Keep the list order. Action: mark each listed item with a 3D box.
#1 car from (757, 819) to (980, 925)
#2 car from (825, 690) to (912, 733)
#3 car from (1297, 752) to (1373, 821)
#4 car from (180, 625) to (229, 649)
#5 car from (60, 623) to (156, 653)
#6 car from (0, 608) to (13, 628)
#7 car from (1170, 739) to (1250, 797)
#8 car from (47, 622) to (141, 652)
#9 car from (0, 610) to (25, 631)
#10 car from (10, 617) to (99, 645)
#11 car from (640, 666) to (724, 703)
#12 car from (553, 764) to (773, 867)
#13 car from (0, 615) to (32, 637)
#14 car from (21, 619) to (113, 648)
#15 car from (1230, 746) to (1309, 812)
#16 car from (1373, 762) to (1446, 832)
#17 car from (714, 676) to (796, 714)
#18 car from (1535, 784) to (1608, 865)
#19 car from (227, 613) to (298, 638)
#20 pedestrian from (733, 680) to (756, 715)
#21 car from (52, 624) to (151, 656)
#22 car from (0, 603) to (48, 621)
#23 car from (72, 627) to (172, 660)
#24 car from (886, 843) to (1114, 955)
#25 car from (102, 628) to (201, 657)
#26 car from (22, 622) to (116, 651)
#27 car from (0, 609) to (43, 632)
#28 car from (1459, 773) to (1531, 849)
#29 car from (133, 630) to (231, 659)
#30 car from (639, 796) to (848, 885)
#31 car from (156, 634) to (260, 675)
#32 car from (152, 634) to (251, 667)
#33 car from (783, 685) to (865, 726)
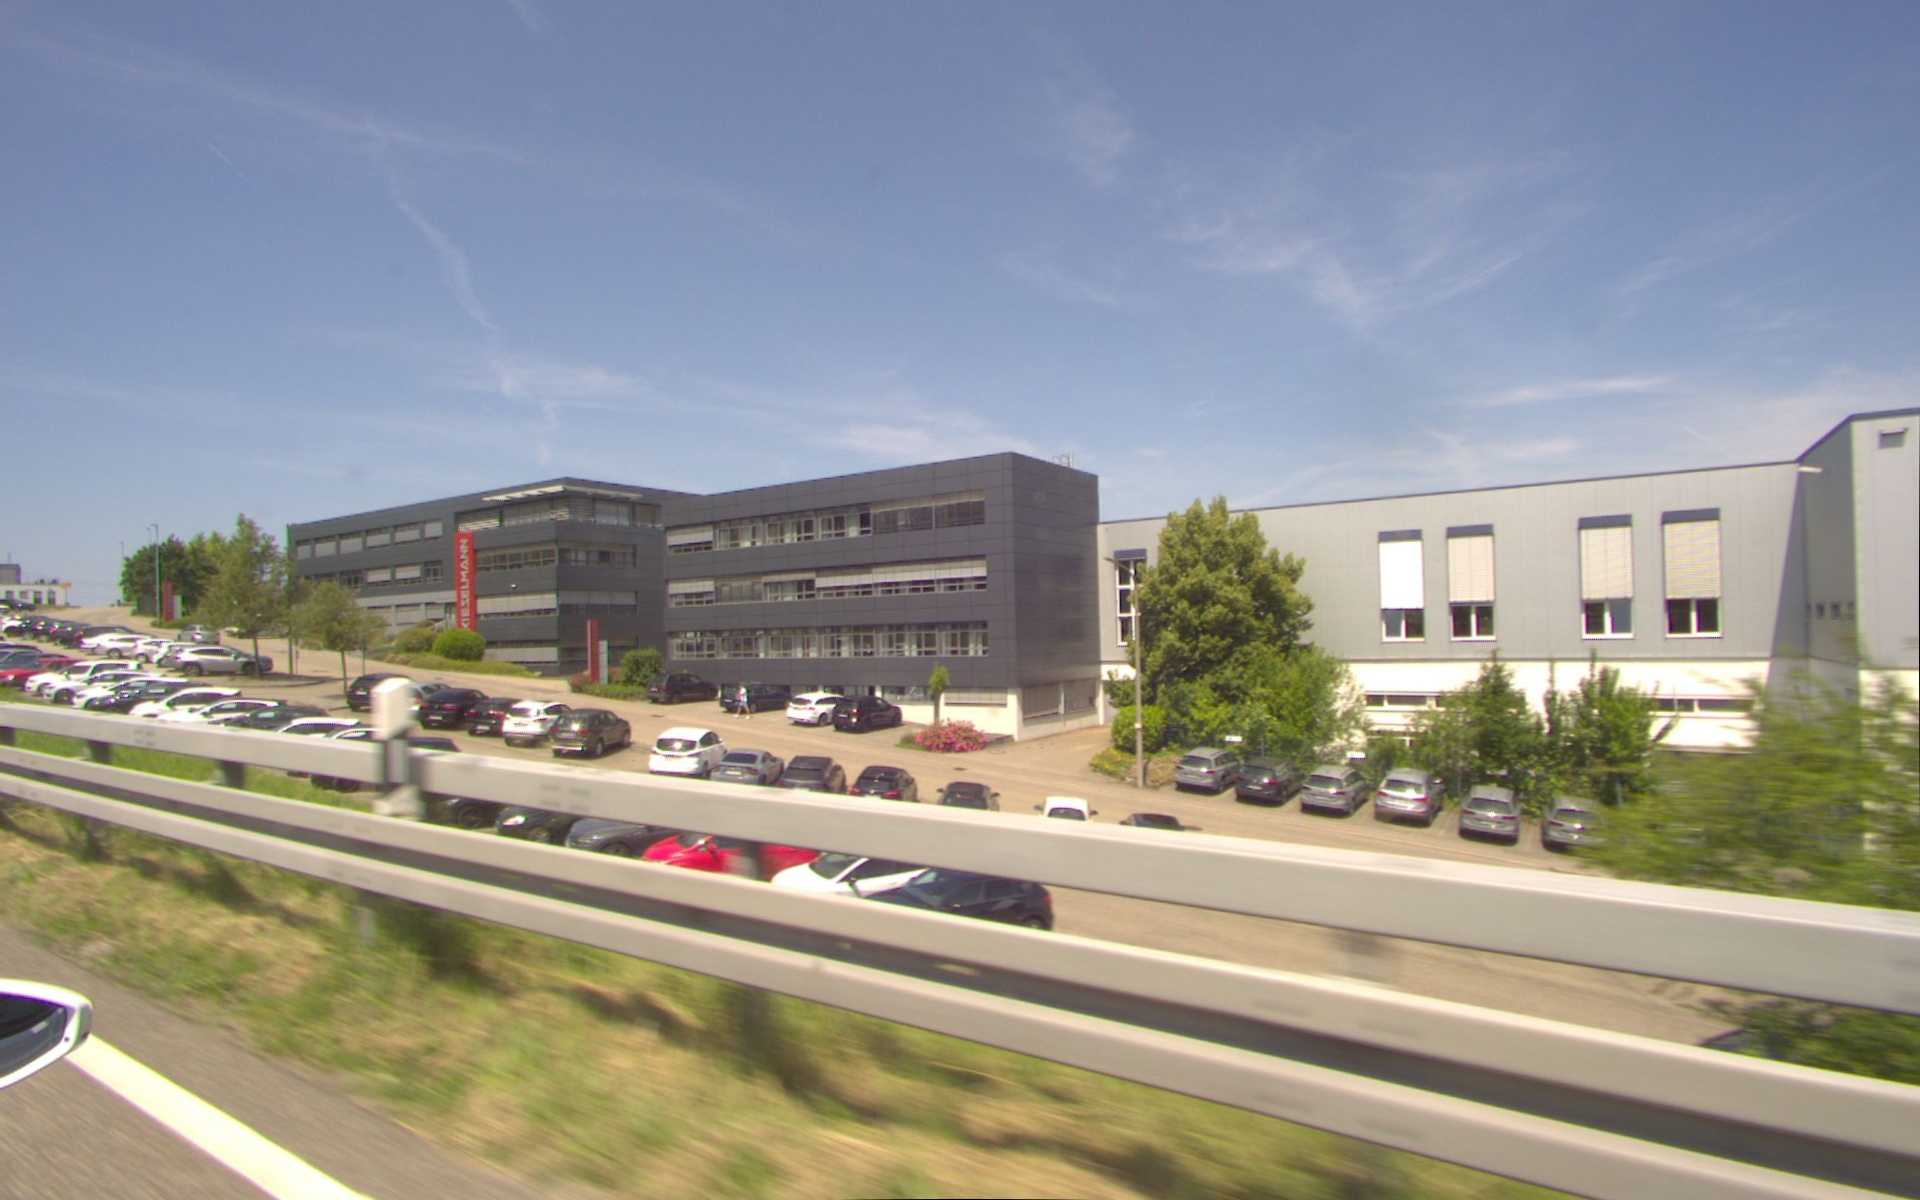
[{"bbox_3d":[-1.914,5.766,21.607,4.361,1.682,1.886,8,-5,-35],"label":"car"},{"bbox_3d":[-4.521,5.508,49.939,1.795,1.593,4.560,3,1,34],"label":"car"},{"bbox_3d":[13.927,6.807,37.035,1.793,1.593,4.563,2,1,31],"label":"car"},{"bbox_3d":[-56.948,2.766,75.501,3.947,1.682,1.802,0,-3,36],"label":"car"},{"bbox_3d":[-57.849,2.588,68.080,4.526,1.648,1.812,7,-4,-29],"label":"car"},{"bbox_3d":[-83.387,1.399,84.619,4.532,1.649,1.808,5,-3,-35],"label":"car"},{"bbox_3d":[9.957,6.573,39.646,1.793,1.593,4.566,2,0,31],"label":"car"},{"bbox_3d":[-60.284,2.604,69.825,4.526,1.648,1.812,7,-4,-29],"label":"car"},{"bbox_3d":[-80.731,1.661,82.983,4.530,1.649,1.808,3,-2,-35],"label":"car"},{"bbox_3d":[-67.681,2.342,74.941,4.526,1.648,1.812,7,-4,-29],"label":"car"},{"bbox_3d":[-15.653,4.741,56.615,1.794,1.670,4.563,3,1,32],"label":"car"},{"bbox_3d":[-7.239,5.236,24.511,4.664,2.037,2.068,7,-4,-30],"label":"car"},{"bbox_3d":[-78.320,2.010,80.906,4.532,1.649,1.808,5,-3,-35],"label":"car"},{"bbox_3d":[-64.893,2.473,72.879,4.526,1.648,1.812,7,-4,-29],"label":"car"},{"bbox_3d":[11.892,6.766,38.294,1.793,1.593,4.563,2,1,31],"label":"car"},{"bbox_3d":[16.163,6.983,35.916,1.883,1.593,4.030,2,1,31],"label":"car"},{"bbox_3d":[-11.073,5.123,54.339,1.792,1.593,4.567,3,1,29],"label":"car"},{"bbox_3d":[19.977,7.272,32.773,1.883,1.593,4.030,2,1,31],"label":"car"},{"bbox_3d":[-58.385,2.117,83.881,1.795,1.975,4.560,2,0,35],"label":"car"},{"bbox_3d":[-11.096,5.031,51.632,0.817,1.744,0.631,2,-4,35],"label":"pedestrian"},{"bbox_3d":[-56.305,2.619,65.768,4.526,1.648,1.812,7,-4,-29],"label":"car"},{"bbox_3d":[-94.673,1.153,100.266,4.512,1.649,1.816,3,-3,-22],"label":"car"},{"bbox_3d":[-53.959,2.813,64.558,4.526,1.648,1.812,7,-4,-29],"label":"car"},{"bbox_3d":[0.868,5.934,20.252,4.361,1.561,1.778,8,-5,-35],"label":"car"},{"bbox_3d":[-50.854,2.667,63.067,4.516,1.541,1.812,3,2,-25],"label":"car"},{"bbox_3d":[-63.257,2.603,71.189,4.526,1.648,1.812,7,-4,-29],"label":"car"},{"bbox_3d":[-76.006,1.558,79.414,4.531,1.649,1.808,5,-3,-35],"label":"car"},{"bbox_3d":[18.198,7.081,33.965,1.883,1.593,4.030,2,1,31],"label":"car"},{"bbox_3d":[-47.874,2.717,61.725,4.521,1.498,1.809,-1,4,-31],"label":"car"},{"bbox_3d":[-4.977,5.520,22.977,4.342,1.577,1.981,7,-4,-22],"label":"car"},{"bbox_3d":[-43.546,3.171,58.125,4.527,1.650,1.808,7,4,-30],"label":"car"},{"bbox_3d":[-45.457,3.039,60.135,4.524,1.651,1.809,4,3,-31],"label":"car"},{"bbox_3d":[-6.914,5.358,51.445,1.792,1.593,4.567,3,1,29],"label":"car"}]
